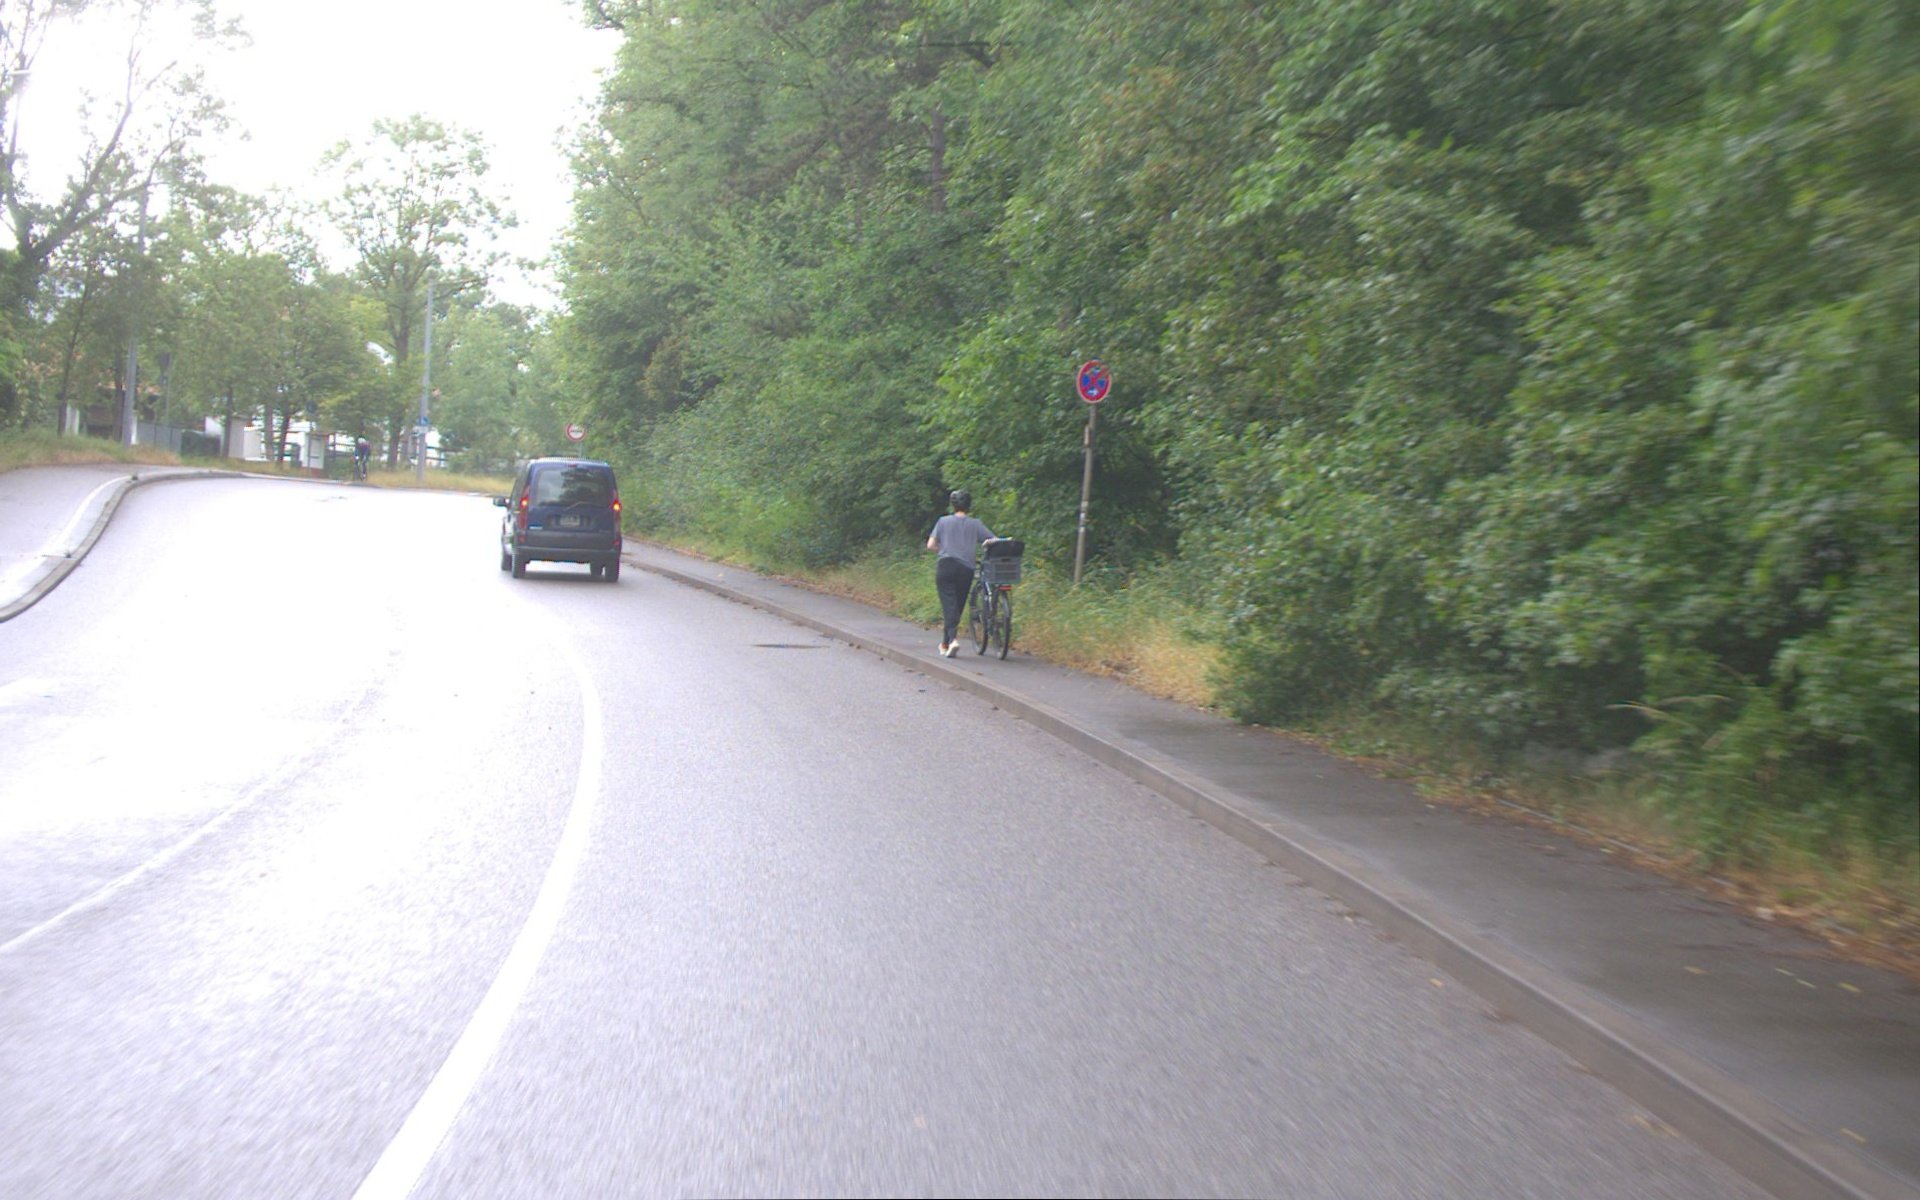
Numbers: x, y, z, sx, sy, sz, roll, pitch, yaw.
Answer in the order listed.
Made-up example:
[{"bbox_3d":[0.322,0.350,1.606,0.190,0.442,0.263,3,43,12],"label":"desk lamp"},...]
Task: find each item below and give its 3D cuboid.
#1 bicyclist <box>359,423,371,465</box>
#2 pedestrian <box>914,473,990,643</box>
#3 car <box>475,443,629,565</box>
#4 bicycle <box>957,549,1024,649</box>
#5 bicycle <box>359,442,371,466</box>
[{"bbox_3d":[-22.434,-5.881,129.698,0.336,1.568,1.298,3,3,-9],"label":"bicyclist"},{"bbox_3d":[-0.078,-0.394,32.672,0.564,1.571,0.770,2,-1,-8],"label":"pedestrian"},{"bbox_3d":[-6.381,-1.462,53.398,1.826,1.788,4.001,1,1,-15],"label":"car"},{"bbox_3d":[0.286,-0.021,32.837,0.355,0.846,1.743,-1,4,-9],"label":"bicycle"},{"bbox_3d":[-22.440,-5.527,129.694,0.355,0.846,2.094,2,3,-9],"label":"bicycle"}]
